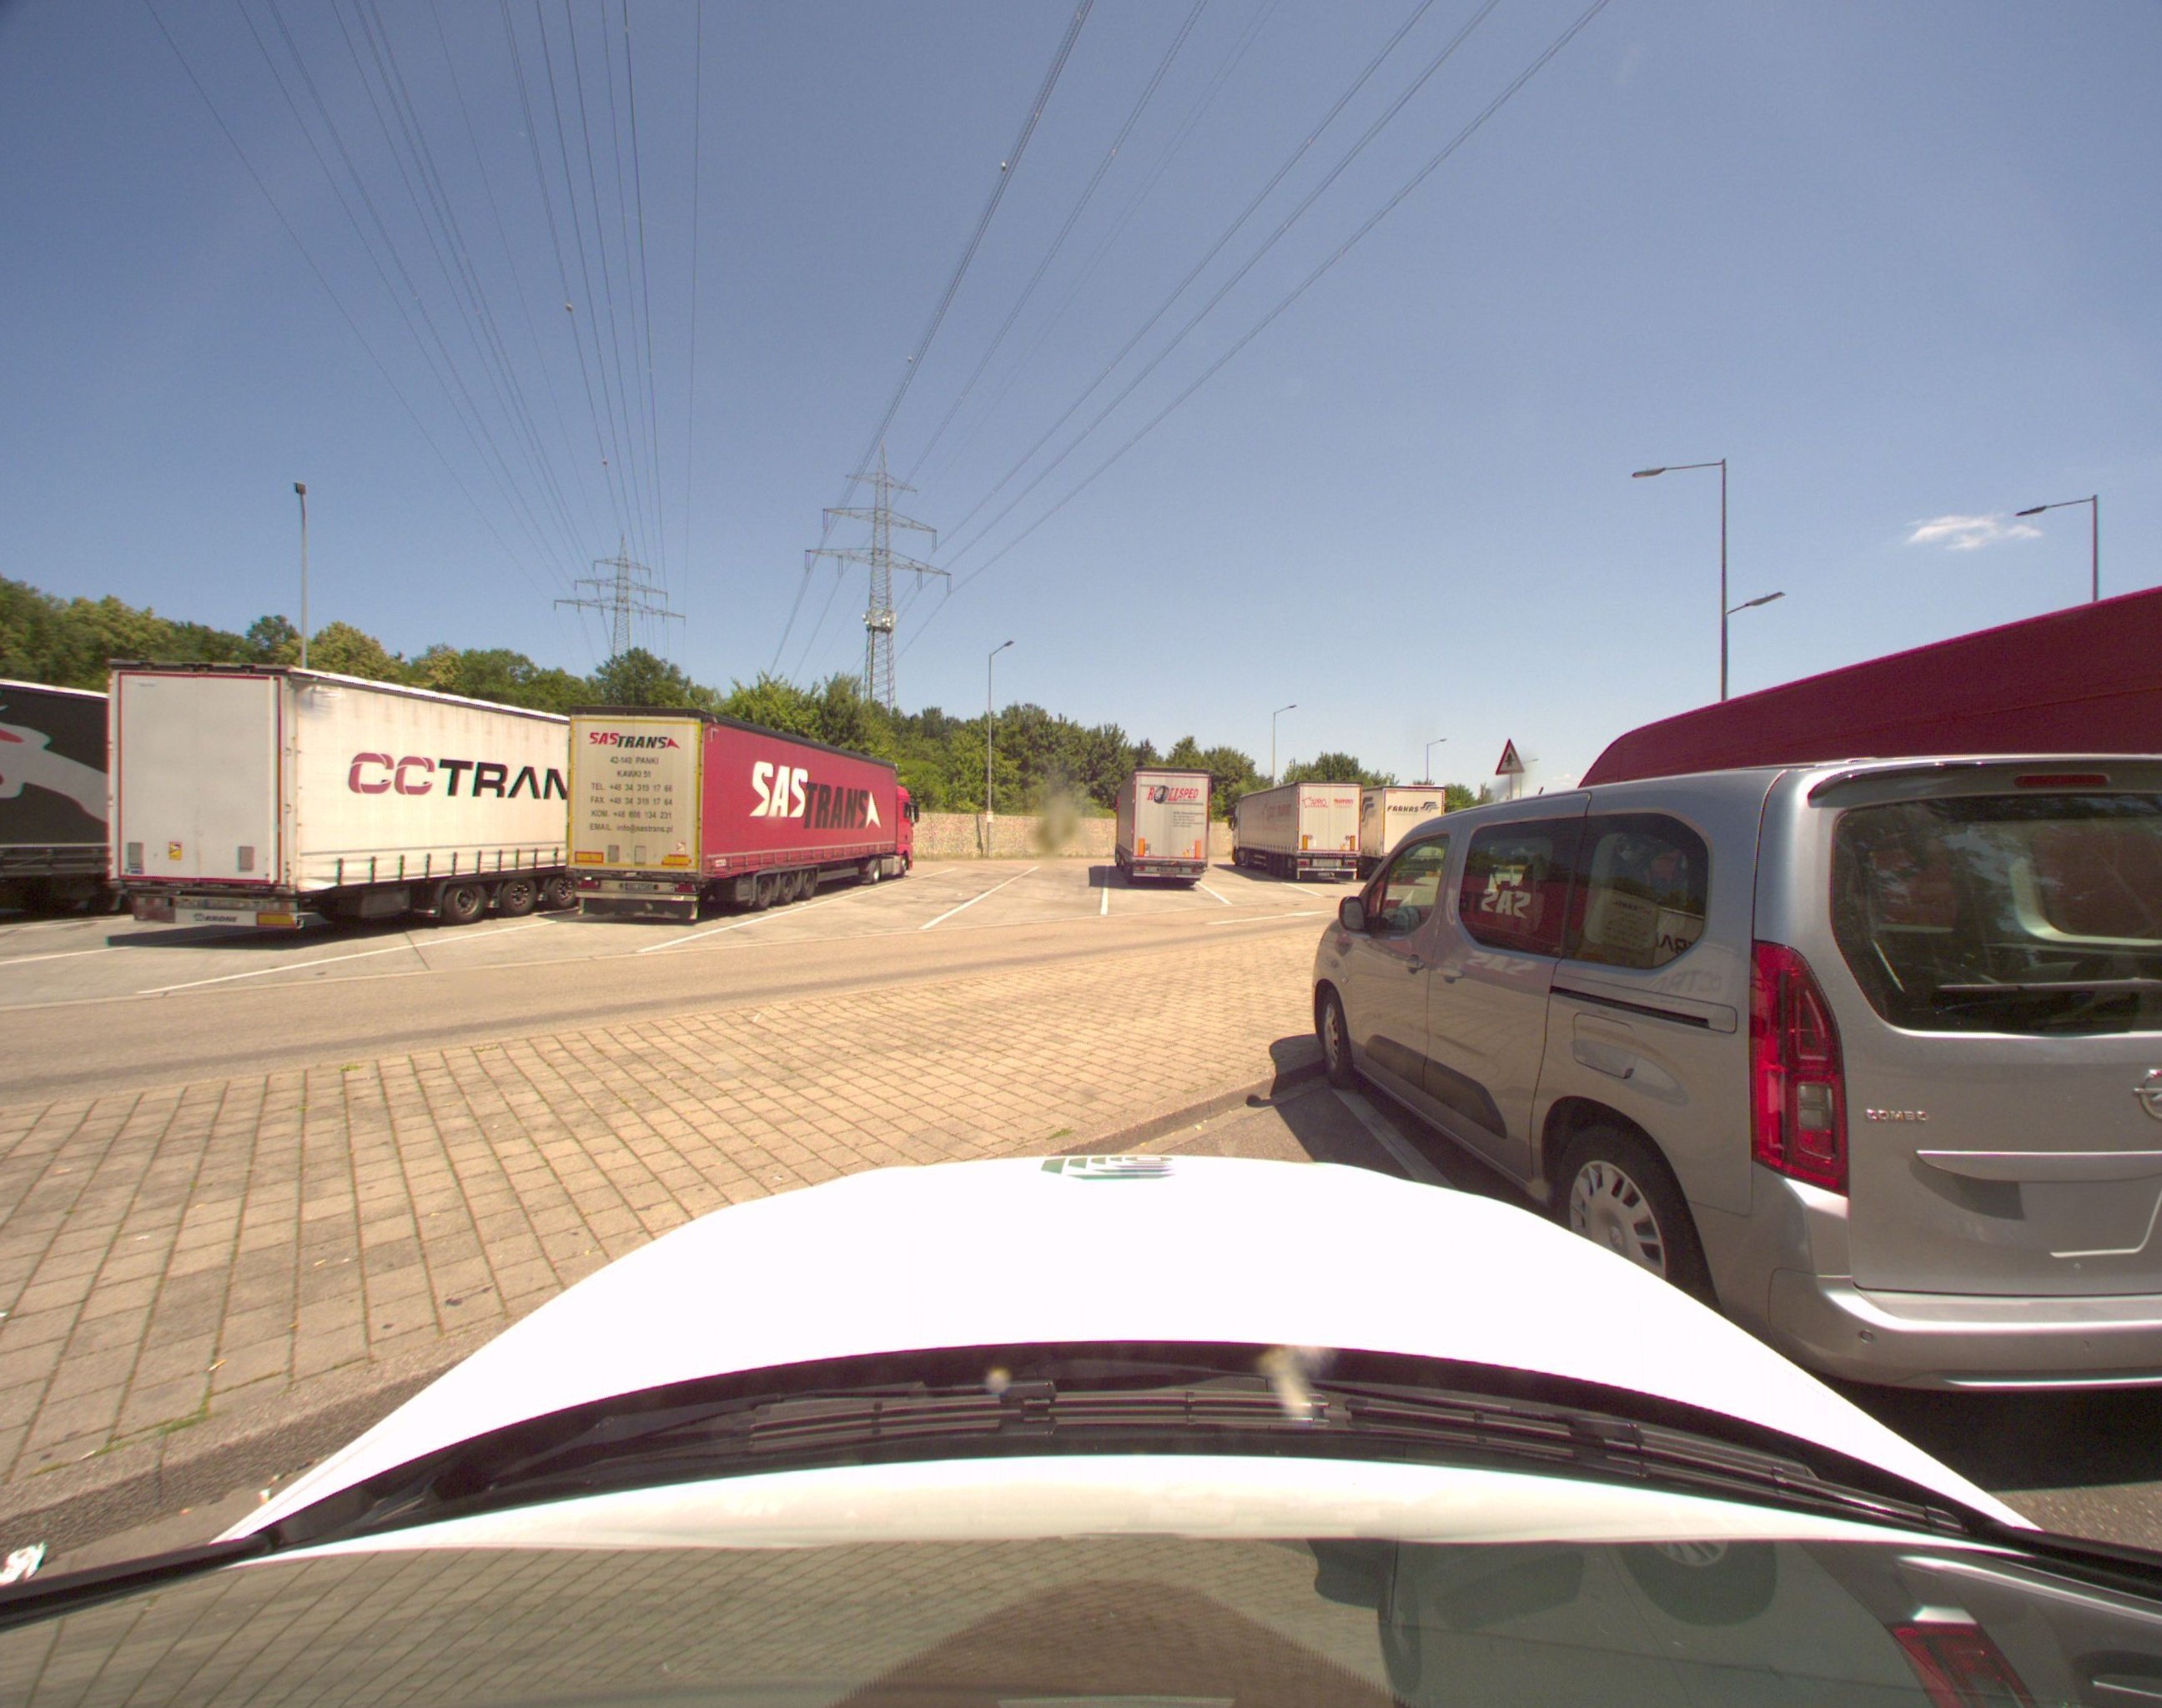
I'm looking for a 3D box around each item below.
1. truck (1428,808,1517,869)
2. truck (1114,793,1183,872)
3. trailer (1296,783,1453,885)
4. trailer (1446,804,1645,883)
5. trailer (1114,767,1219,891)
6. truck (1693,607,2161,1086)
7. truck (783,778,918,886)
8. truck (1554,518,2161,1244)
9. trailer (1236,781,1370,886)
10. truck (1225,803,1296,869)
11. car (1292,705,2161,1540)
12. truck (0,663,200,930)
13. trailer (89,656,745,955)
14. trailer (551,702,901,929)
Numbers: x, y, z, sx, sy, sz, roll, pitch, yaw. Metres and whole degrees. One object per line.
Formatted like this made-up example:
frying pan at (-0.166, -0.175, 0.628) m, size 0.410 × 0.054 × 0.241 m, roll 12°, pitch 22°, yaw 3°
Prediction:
truck at (24.348, -1.016, 51.020) m, size 2.792 × 3.521 × 5.903 m, roll 1°, pitch 2°, yaw 2°
truck at (3.224, -1.089, 40.620) m, size 3.092 × 3.566 × 5.903 m, roll 1°, pitch 2°, yaw 2°
trailer at (13.597, -1.044, 39.640) m, size 2.801 × 3.989 × 14.403 m, roll 1°, pitch 2°, yaw 2°
trailer at (24.094, -0.743, 43.789) m, size 2.801 × 3.507 × 14.403 m, roll 1°, pitch 2°, yaw 2°
trailer at (3.060, -1.072, 33.726) m, size 3.122 × 3.989 × 14.401 m, roll 1°, pitch 2°, yaw 1°
truck at (7.993, -0.039, 6.487) m, size 2.444 × 2.912 × 5.663 m, roll -1°, pitch -1°, yaw 7°
truck at (-7.819, -0.791, 28.503) m, size 2.840 × 3.327 × 5.903 m, roll 1°, pitch 2°, yaw 2°
truck at (5.138, 0.117, 4.938) m, size 1.968 × 2.622 × 5.314 m, roll 0°, pitch -1°, yaw 7°
trailer at (9.924, -1.053, 38.676) m, size 2.801 × 3.989 × 14.403 m, roll 1°, pitch 2°, yaw 2°
truck at (10.185, -1.085, 46.778) m, size 2.852 × 3.521 × 5.903 m, roll 1°, pitch 2°, yaw 2°
car at (2.492, 0.572, 3.914) m, size 1.864 × 1.863 × 4.176 m, roll 1°, pitch 1°, yaw 0°
truck at (-18.540, -0.973, 13.810) m, size 2.726 × 4.239 × 3.997 m, roll 1°, pitch 2°, yaw 2°
trailer at (-12.129, -0.916, 18.363) m, size 2.785 × 4.084 × 14.139 m, roll 1°, pitch 2°, yaw 2°
trailer at (-8.065, -0.953, 21.933) m, size 2.781 × 4.084 × 14.139 m, roll 1°, pitch 2°, yaw 2°
